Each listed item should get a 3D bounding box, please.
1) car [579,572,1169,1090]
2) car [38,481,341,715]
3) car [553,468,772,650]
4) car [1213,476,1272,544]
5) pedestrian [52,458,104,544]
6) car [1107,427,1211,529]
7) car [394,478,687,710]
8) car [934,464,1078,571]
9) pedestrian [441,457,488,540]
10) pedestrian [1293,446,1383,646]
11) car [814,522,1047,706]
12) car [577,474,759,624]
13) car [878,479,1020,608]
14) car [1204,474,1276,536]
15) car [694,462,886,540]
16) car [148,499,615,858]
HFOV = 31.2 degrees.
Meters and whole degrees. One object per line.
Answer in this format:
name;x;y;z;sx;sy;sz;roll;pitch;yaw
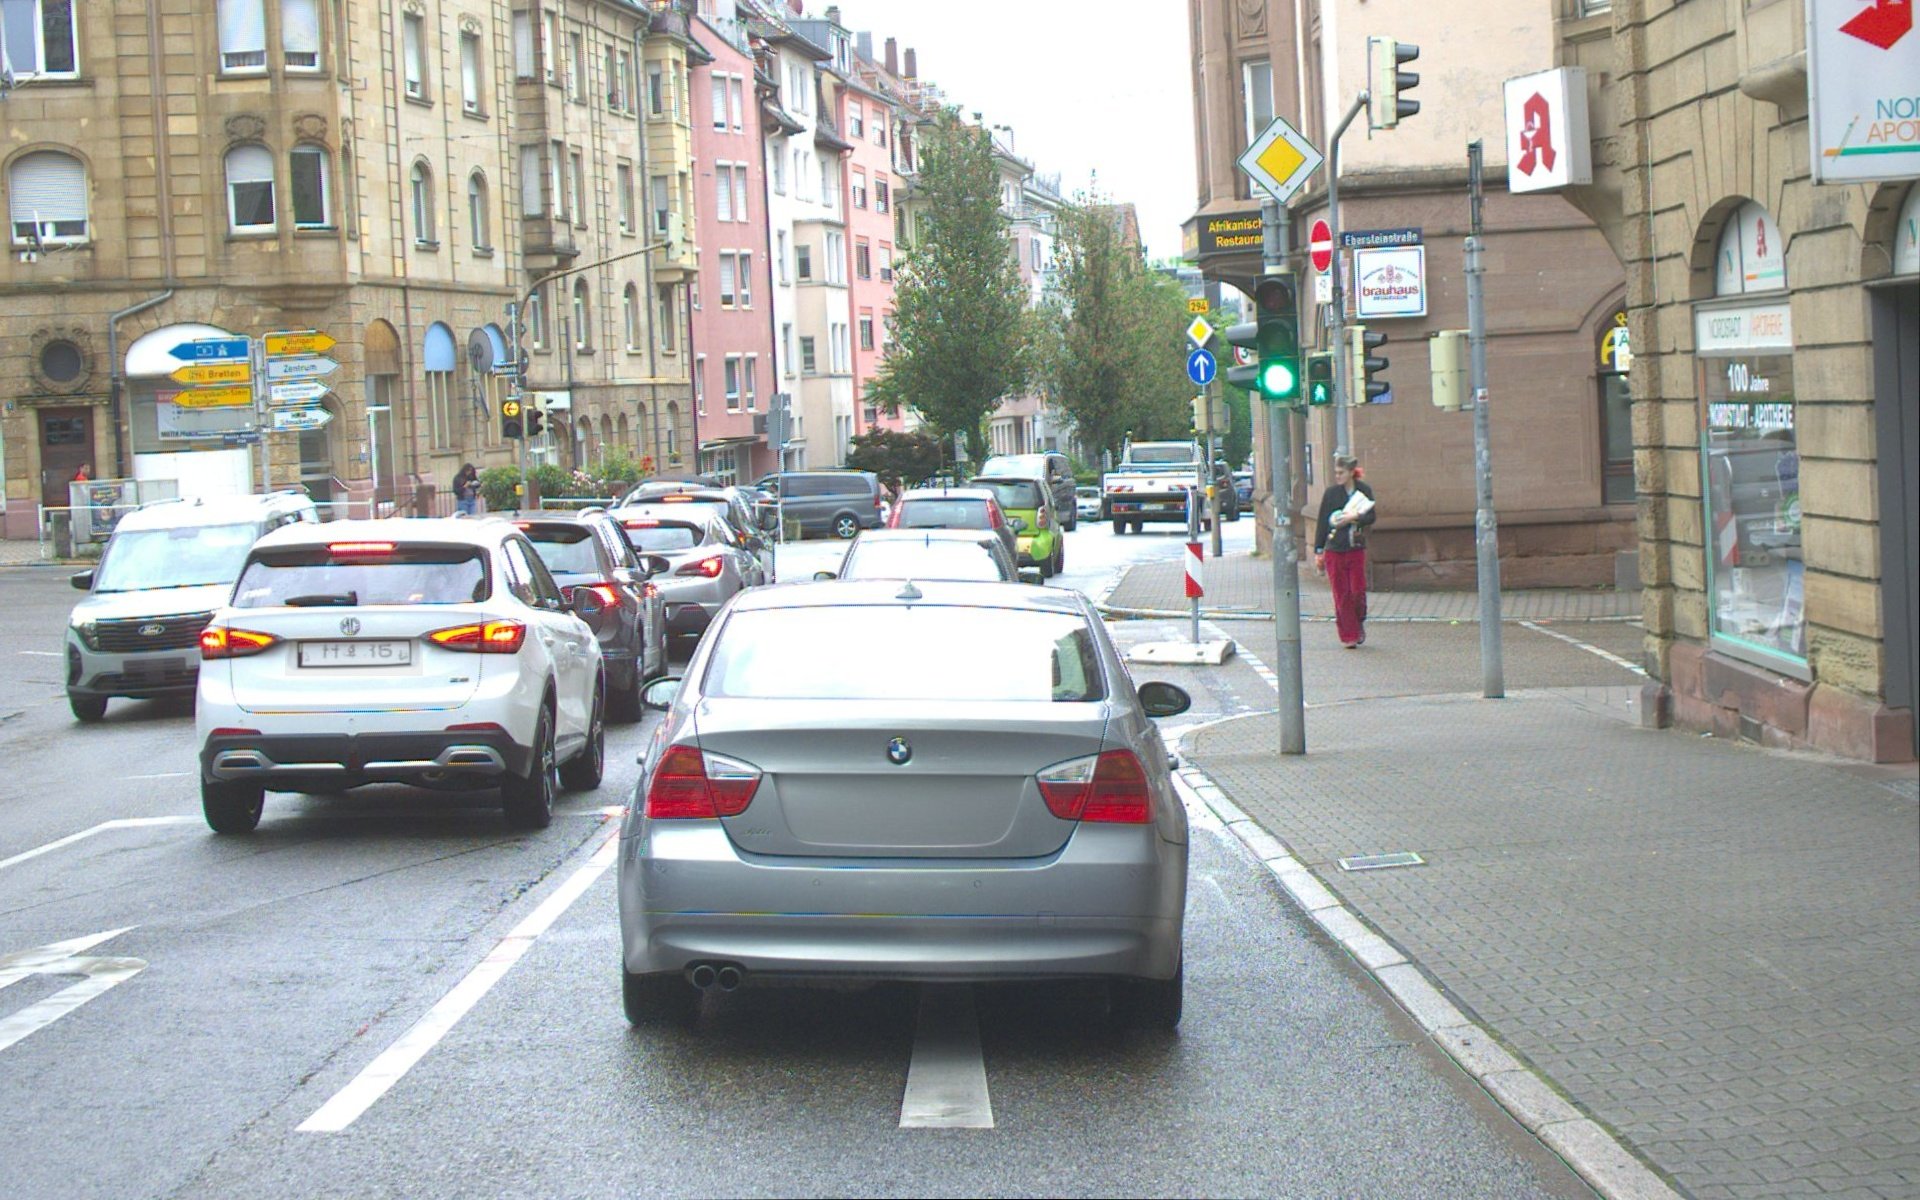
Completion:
car;-0.203;0.626;11.309;1.623;1.378;3.615;0;1;1
car;-6.875;-0.063;31.097;1.761;1.919;4.324;-2;1;-1
car;-2.916;-0.429;34.423;1.759;1.702;4.000;0;1;1
car;8.846;-2.798;107.307;1.725;2.007;3.999;1;0;6
pedestrian;-16.458;-1.852;64.153;0.717;1.572;0.538;-2;1;-38
car;4.253;-2.602;73.989;1.993;2.099;4.000;0;1;0
car;-3.258;-0.087;27.407;1.759;1.702;4.000;0;1;1
car;0.749;-1.264;52.651;1.760;1.562;3.999;0;1;7
pedestrian;-9.603;-1.968;66.637;0.732;1.572;0.528;-1;1;9
pedestrian;3.664;-0.529;33.348;0.742;1.903;0.659;-2;1;-1
car;-0.184;0.065;28.058;1.759;1.378;4.000;0;1;1
car;-3.463;-0.628;41.419;1.759;1.702;4.000;0;1;1
car;-0.096;-0.699;41.443;1.595;1.459;4.000;-1;1;1
car;7.568;-2.557;93.291;1.725;1.547;4.000;1;0;2
car;-4.706;-2.743;95.912;5.176;2.007;2.698;1;0;0
car;-3.060;0.332;19.012;1.868;1.620;4.001;-2;3;0
